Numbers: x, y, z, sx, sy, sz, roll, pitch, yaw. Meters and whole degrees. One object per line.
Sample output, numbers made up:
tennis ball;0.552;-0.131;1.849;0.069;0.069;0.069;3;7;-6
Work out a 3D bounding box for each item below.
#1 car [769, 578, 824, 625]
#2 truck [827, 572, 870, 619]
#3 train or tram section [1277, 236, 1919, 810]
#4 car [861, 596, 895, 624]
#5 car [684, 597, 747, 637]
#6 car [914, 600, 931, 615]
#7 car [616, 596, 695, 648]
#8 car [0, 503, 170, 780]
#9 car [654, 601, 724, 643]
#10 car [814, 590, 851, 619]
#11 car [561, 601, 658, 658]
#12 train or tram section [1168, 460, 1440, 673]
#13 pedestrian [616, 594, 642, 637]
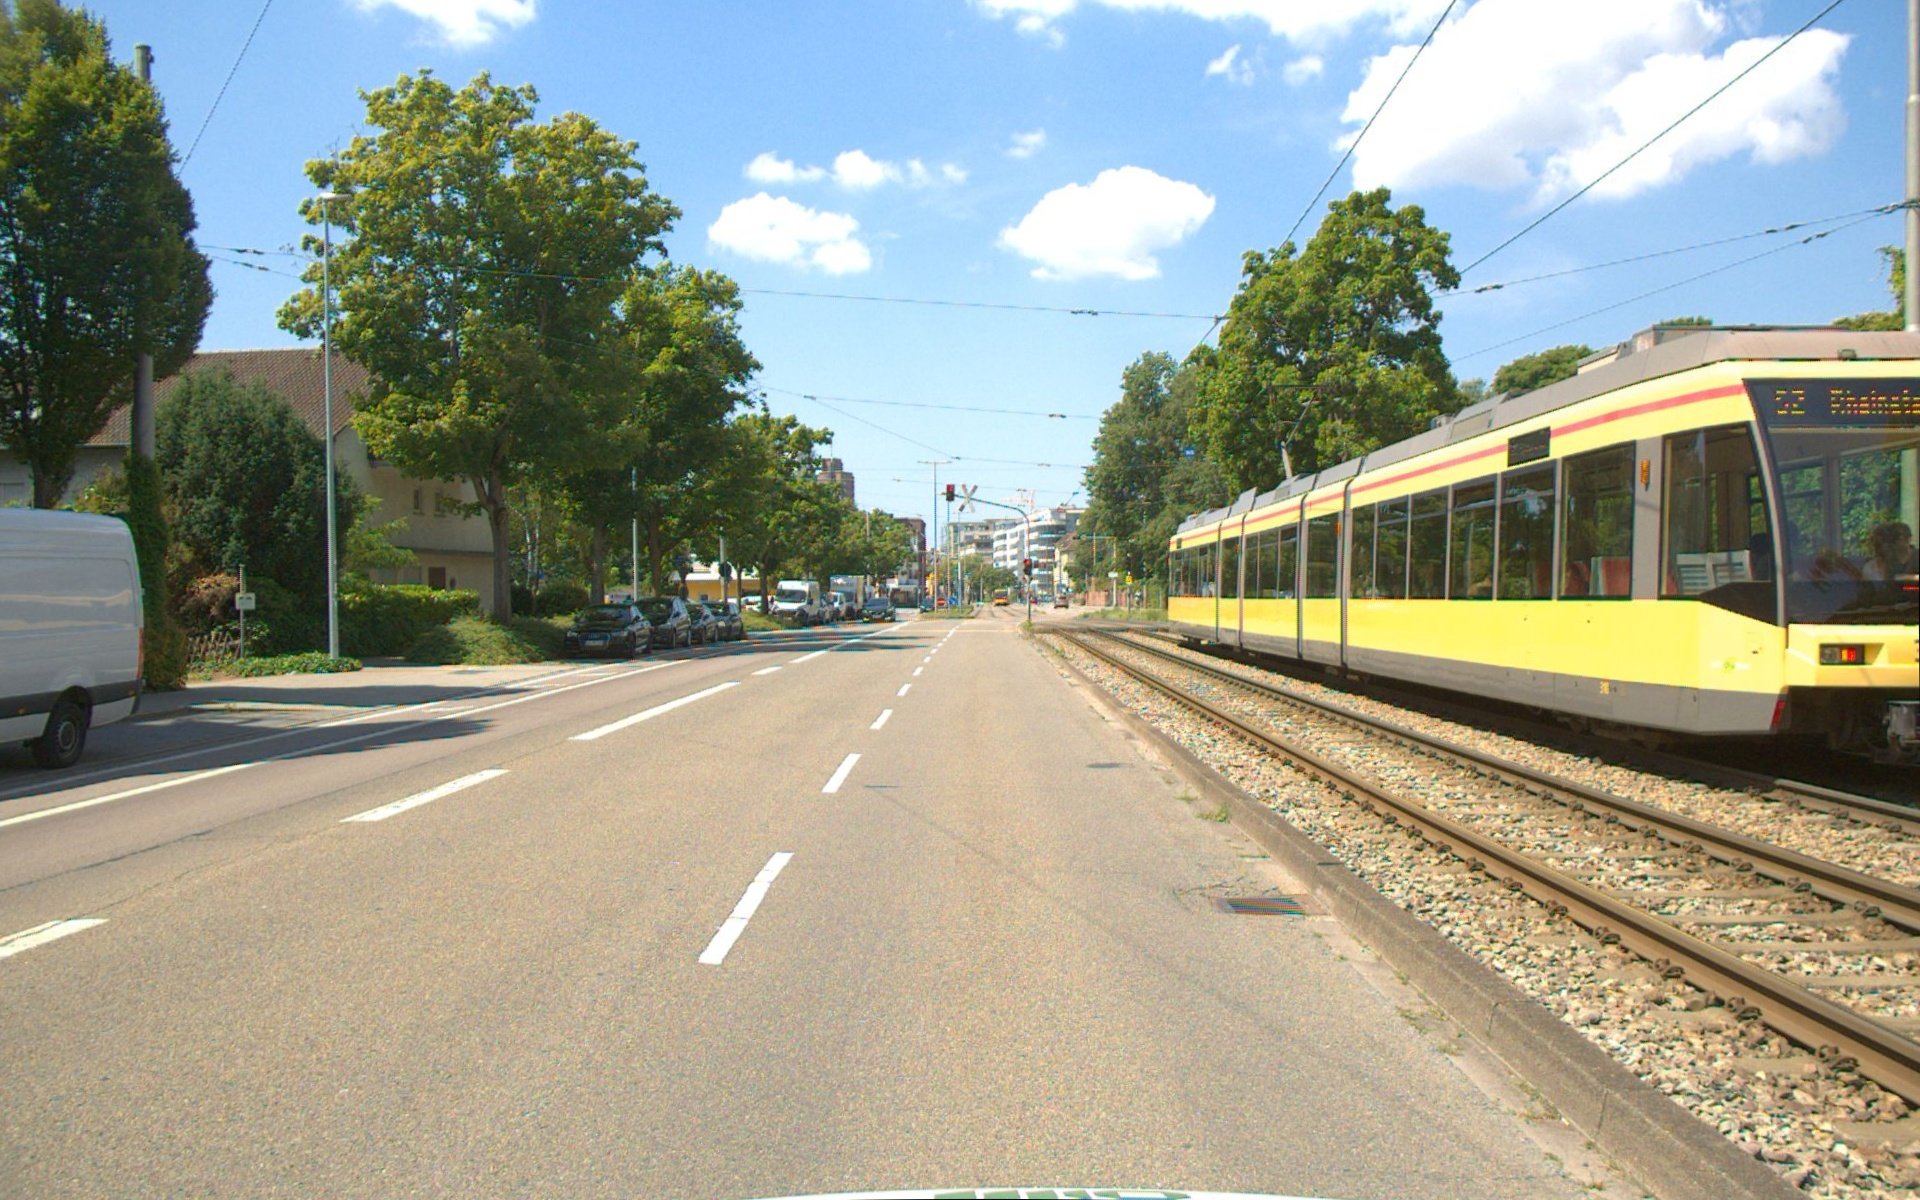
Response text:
car;-9.247;0.078;93.961;2.111;2.530;6.195;0;0;3
truck;-8.193;-0.310;122.087;2.112;3.266;7.085;2;0;3
train or tram section;6.875;-0.543;20.018;2.883;3.756;18.391;0;0;1
car;-4.751;0.564;95.727;1.738;1.485;4.194;-2;0;-1
car;-9.425;0.633;64.088;1.738;1.506;4.048;1;0;1
car;-3.805;0.717;167.417;1.644;1.422;4.005;-3;0;-1
car;-9.859;0.679;53.850;1.738;1.632;4.637;0;0;-1
car;-10.466;0.352;15.686;2.276;2.697;7.036;3;0;2
car;-9.667;0.759;59.363;1.738;1.397;4.696;1;0;-1
car;-8.759;0.287;113.800;2.018;1.931;4.872;-1;0;2
car;-9.732;0.774;46.269;1.738;1.481;4.804;-1;0;-1
train or tram section;7.332;-0.637;39.308;2.882;3.756;20.288;0;0;2
pedestrian;-14.461;0.677;72.206;0.955;1.855;0.794;-1;0;-2
